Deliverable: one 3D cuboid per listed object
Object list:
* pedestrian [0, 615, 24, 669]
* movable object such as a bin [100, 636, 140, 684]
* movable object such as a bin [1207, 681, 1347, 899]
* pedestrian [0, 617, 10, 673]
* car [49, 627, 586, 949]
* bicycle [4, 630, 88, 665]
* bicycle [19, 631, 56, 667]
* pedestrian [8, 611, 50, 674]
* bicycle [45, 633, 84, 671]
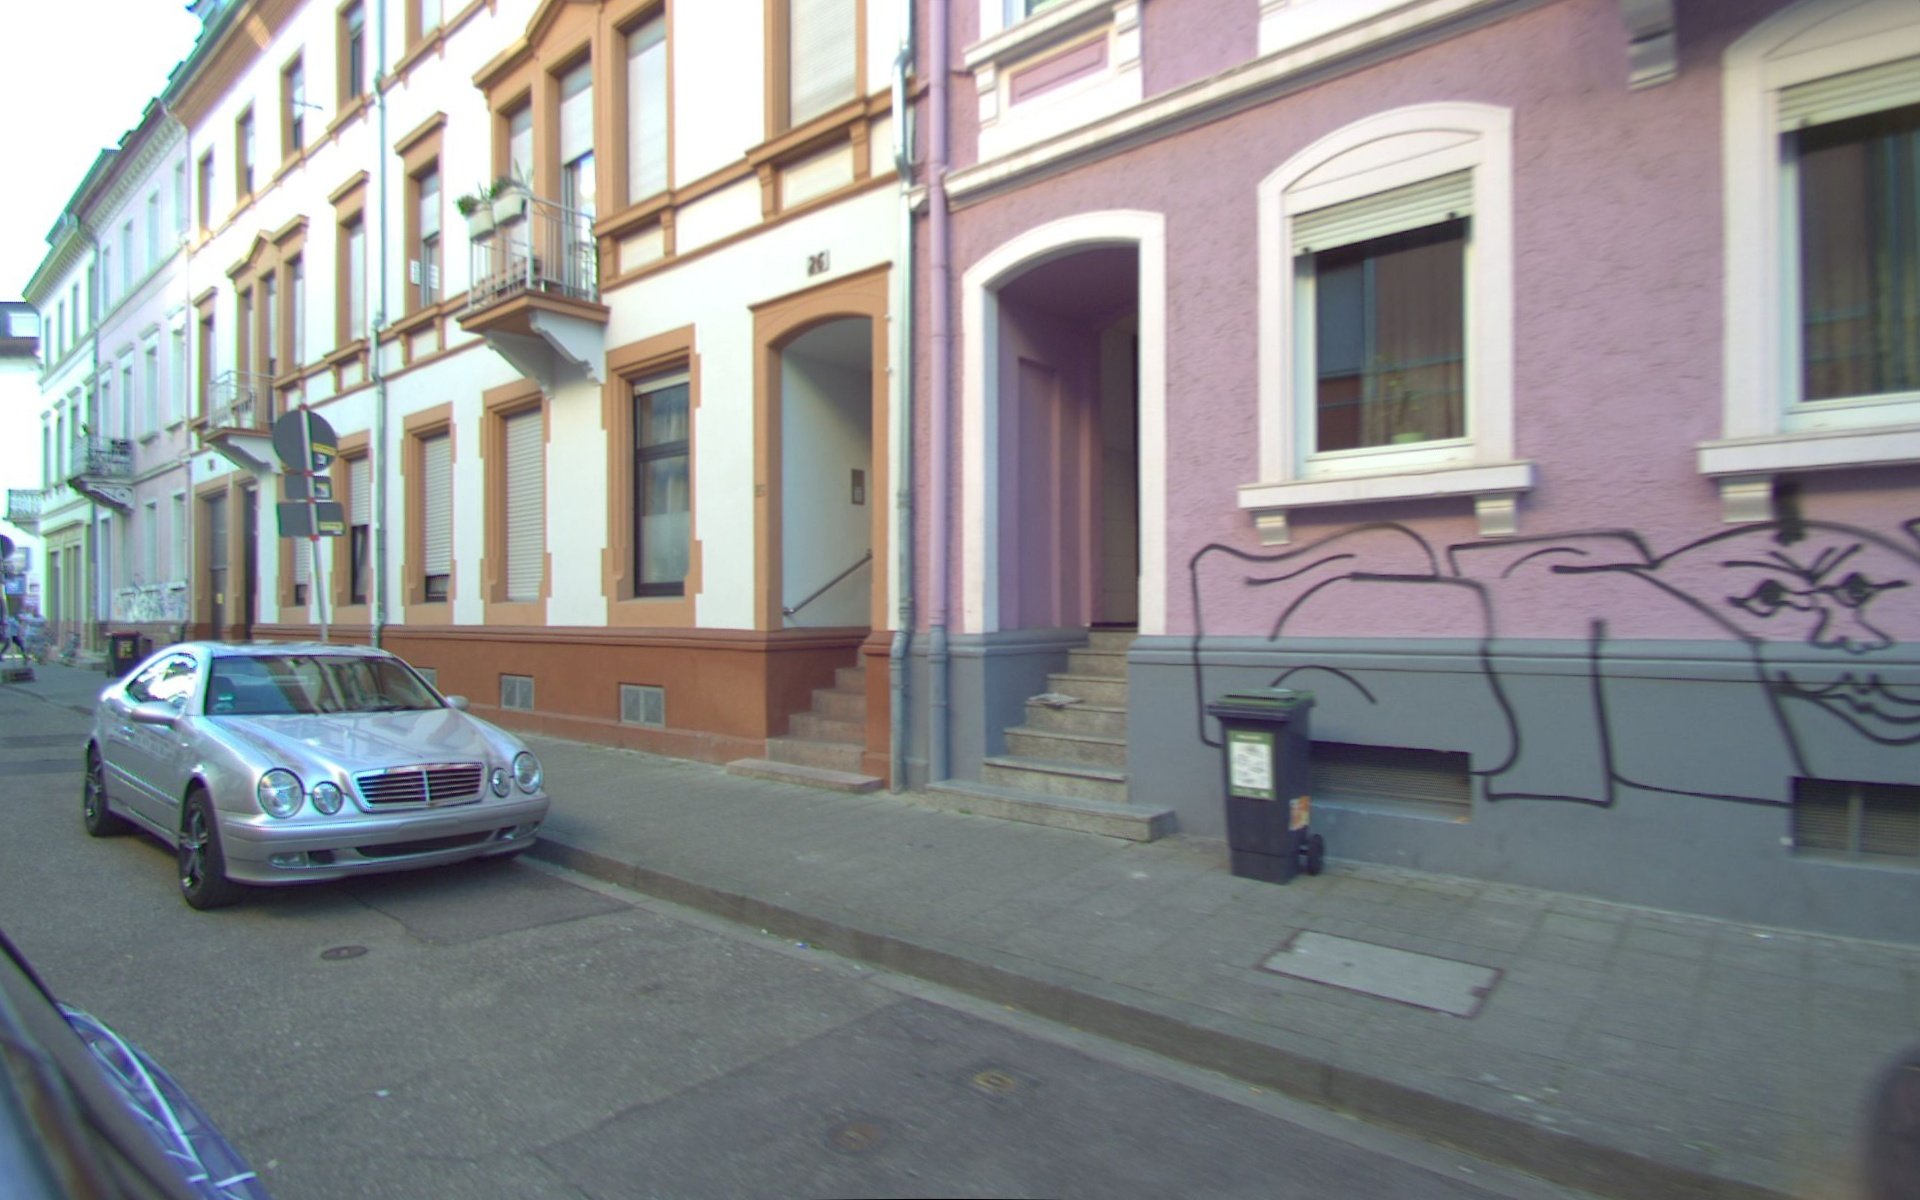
[{"bbox_3d":[-33.273,1.459,35.290,0.778,1.863,0.763,-1,0,32],"label":"pedestrian"},{"bbox_3d":[-19.186,1.354,23.125,0.596,1.043,0.599,-1,0,39],"label":"movable object such as a bin"},{"bbox_3d":[1.589,0.908,5.057,0.487,0.952,0.538,-1,0,41],"label":"movable object such as a bin"},{"bbox_3d":[-31.601,1.449,32.774,0.984,1.806,0.821,0,-3,25],"label":"pedestrian"},{"bbox_3d":[-4.437,0.922,6.662,4.502,1.394,1.693,-1,-3,41],"label":"car"},{"bbox_3d":[-37.304,1.905,41.343,0.928,1.369,2.450,-1,-1,41],"label":"bicycle"},{"bbox_3d":[-29.208,1.530,32.038,1.817,1.030,0.597,0,3,41],"label":"bicycle"},{"bbox_3d":[-26.511,1.208,28.812,0.864,1.714,0.687,-4,1,40],"label":"pedestrian"},{"bbox_3d":[-25.710,1.476,29.049,1.817,1.030,0.616,-1,-1,41],"label":"bicycle"}]
